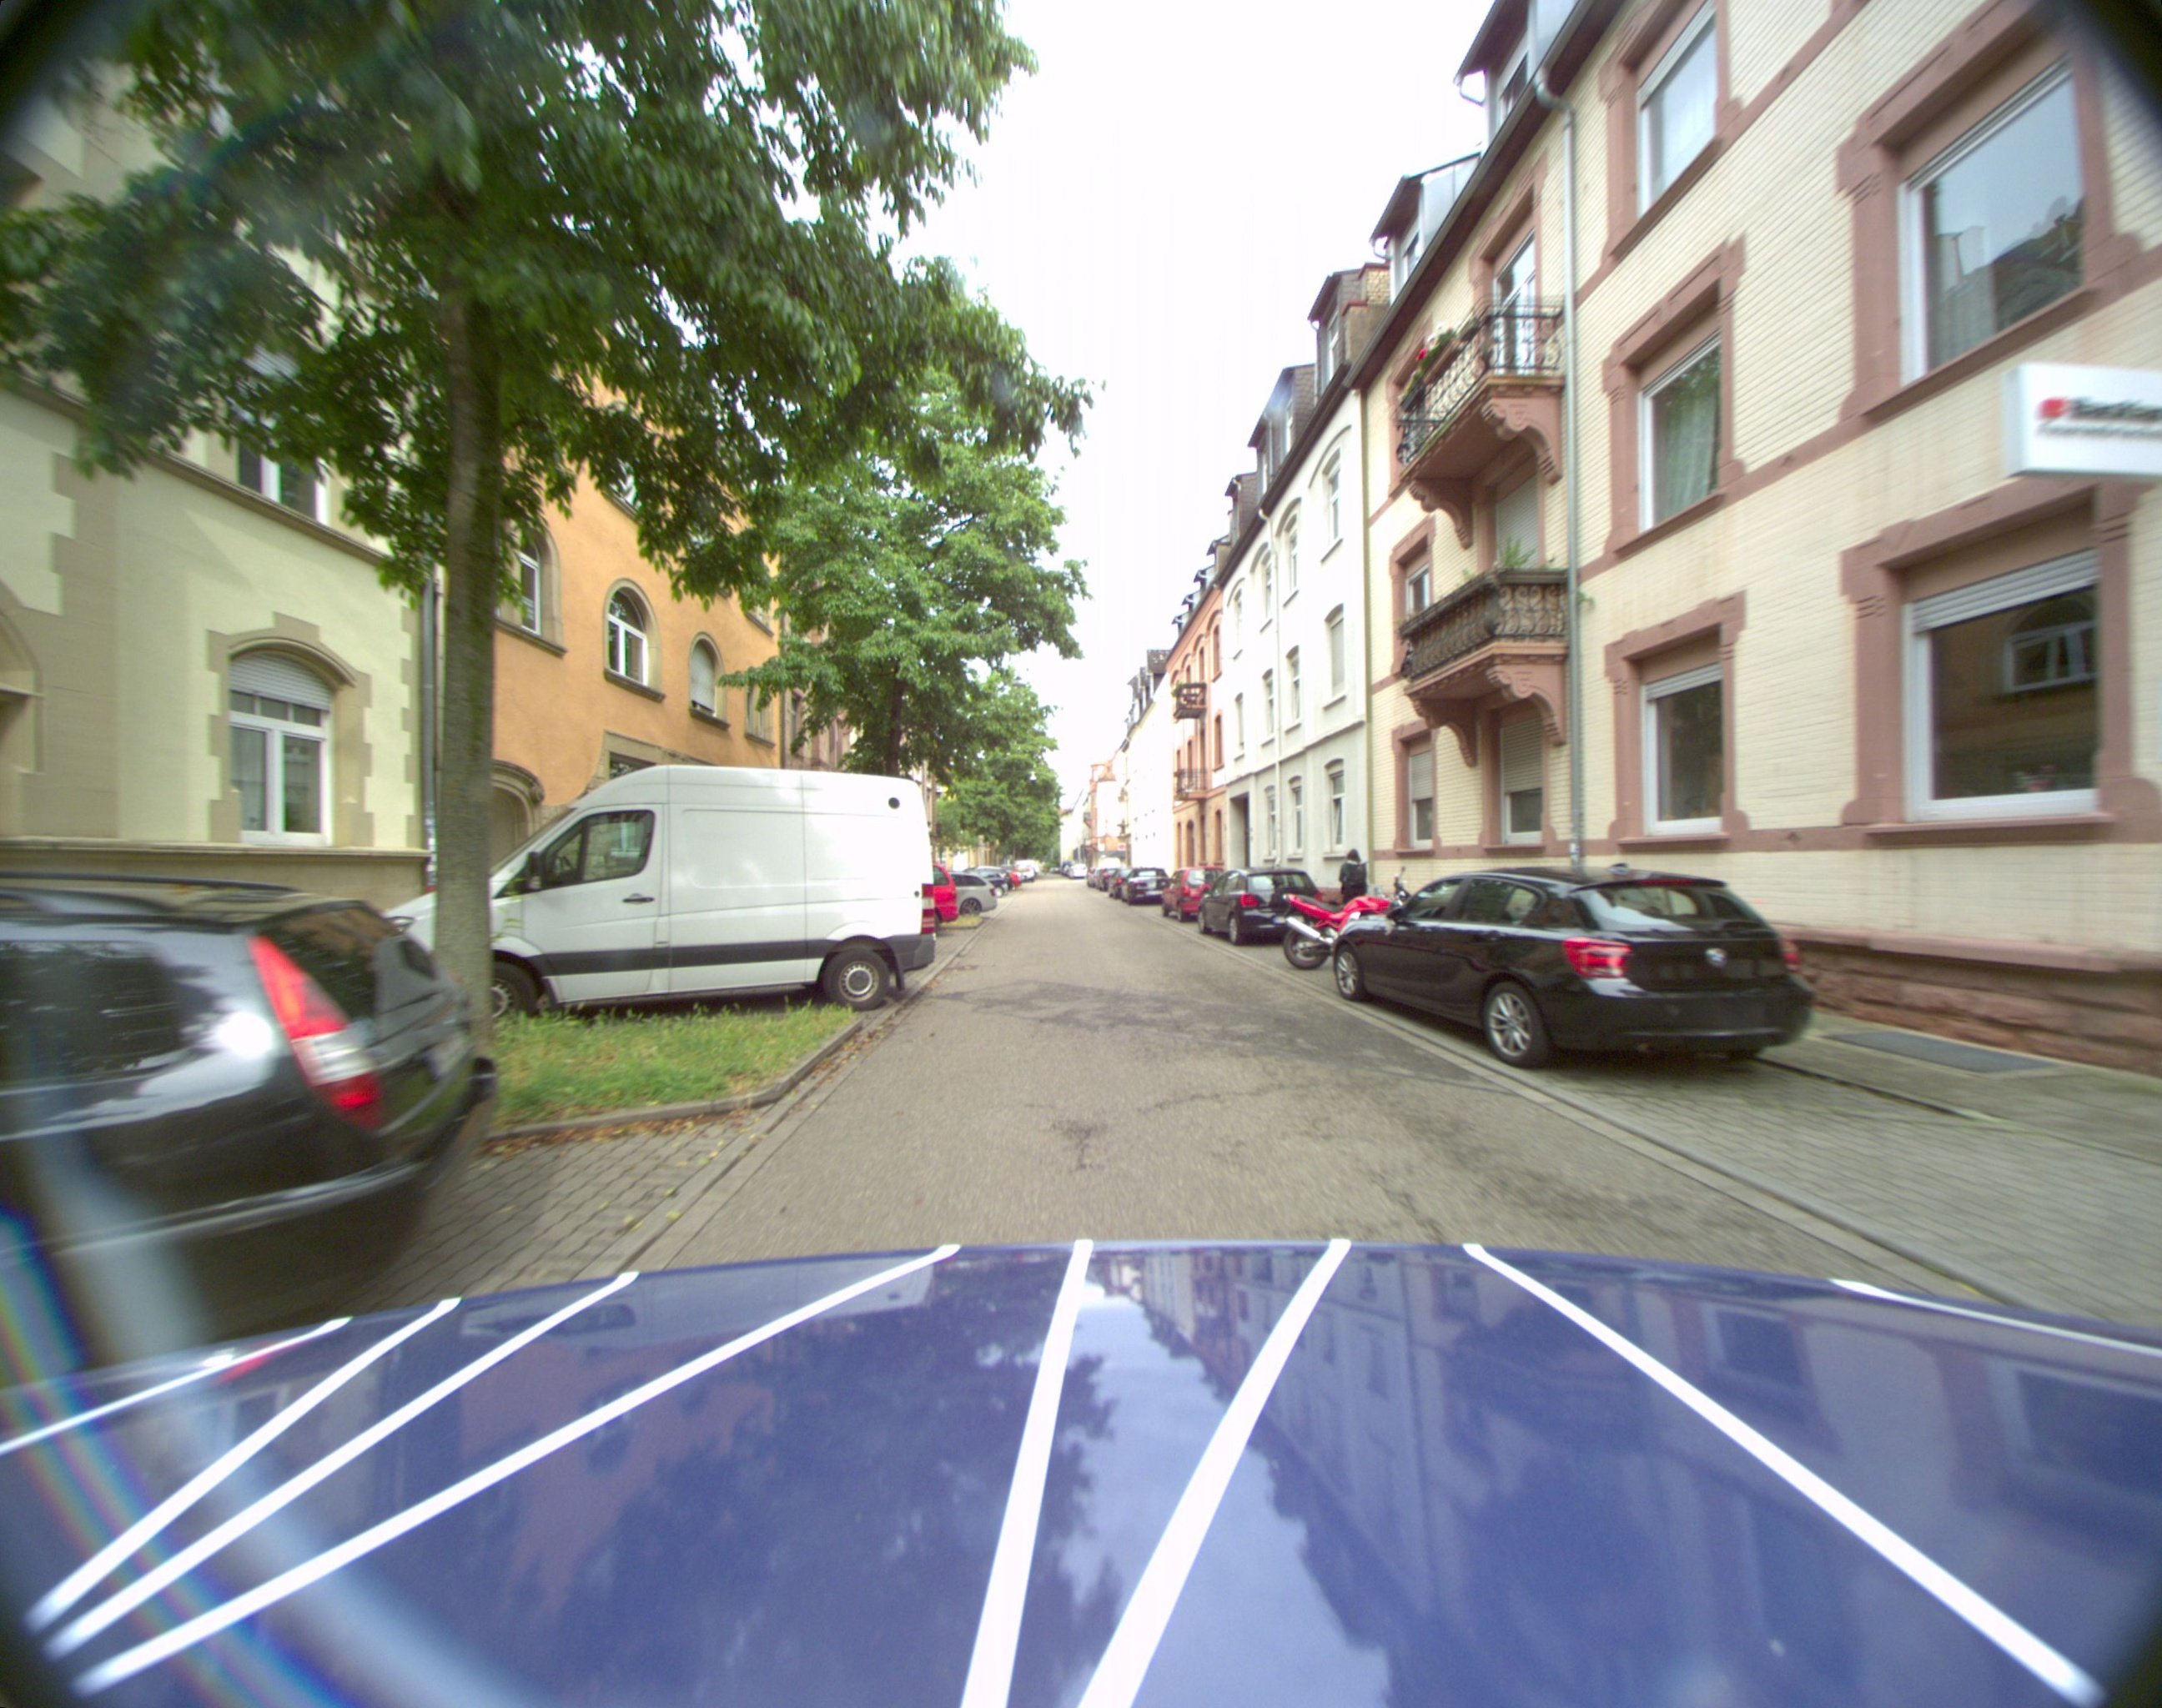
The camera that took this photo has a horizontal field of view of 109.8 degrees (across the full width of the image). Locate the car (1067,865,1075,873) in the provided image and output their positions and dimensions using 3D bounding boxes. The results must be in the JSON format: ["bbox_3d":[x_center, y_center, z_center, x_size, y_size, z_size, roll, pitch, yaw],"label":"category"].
[{"bbox_3d":[-1.969,2.953,151.305,1.457,1.401,3.811,-2,-1,-1],"label":"car"}]

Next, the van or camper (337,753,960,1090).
[{"bbox_3d":[-4.082,0.504,8.053,5.078,2.575,2.069,-1,0,-33],"label":"van or camper"}]

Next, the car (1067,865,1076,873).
[{"bbox_3d":[-1.689,2.632,132.106,1.457,1.401,3.811,-2,-1,-1],"label":"car"}]

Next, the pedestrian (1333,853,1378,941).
[{"bbox_3d":[5.078,0.783,14.069,0.578,1.599,0.544,-1,0,-3],"label":"pedestrian"}]

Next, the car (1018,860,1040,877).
[{"bbox_3d":[-5.450,1.491,79.869,1.999,1.739,4.000,-1,-1,0],"label":"car"}]

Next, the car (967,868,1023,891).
[{"bbox_3d":[-5.940,1.727,52.623,3.608,1.458,1.628,-1,0,-16],"label":"car"}]

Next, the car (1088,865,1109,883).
[{"bbox_3d":[1.340,1.573,60.598,1.457,1.401,3.811,-2,-1,-1],"label":"car"}]

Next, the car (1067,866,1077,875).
[{"bbox_3d":[-1.475,2.703,122.725,1.457,1.401,3.811,-2,-1,-1],"label":"car"}]

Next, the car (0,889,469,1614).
[{"bbox_3d":[-4.245,0.977,1.684,4.285,1.607,1.758,-1,-1,-32],"label":"car"}]

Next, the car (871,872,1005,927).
[{"bbox_3d":[-4.300,1.313,22.987,3.612,1.458,1.626,-1,-1,-34],"label":"car"}]

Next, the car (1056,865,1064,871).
[{"bbox_3d":[-5.168,3.388,187.729,1.458,1.401,3.807,-1,-1,-11],"label":"car"}]

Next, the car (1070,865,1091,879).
[{"bbox_3d":[-0.095,1.983,83.282,2.082,1.446,4.253,-2,-1,-1],"label":"car"}]

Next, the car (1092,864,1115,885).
[{"bbox_3d":[1.599,1.497,55.591,1.457,1.401,3.811,-2,-1,-1],"label":"car"}]

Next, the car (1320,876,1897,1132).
[{"bbox_3d":[3.778,0.928,6.481,1.905,1.382,3.999,-1,-1,-5],"label":"car"}]

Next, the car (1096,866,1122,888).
[{"bbox_3d":[1.844,1.522,51.170,1.457,1.401,3.811,-2,-1,-1],"label":"car"}]

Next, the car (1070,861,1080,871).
[{"bbox_3d":[-0.875,1.747,111.203,1.457,1.401,3.811,-2,-1,-1],"label":"car"}]

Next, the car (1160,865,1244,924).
[{"bbox_3d":[3.245,1.052,20.979,1.611,1.463,3.342,-1,0,-3],"label":"car"}]

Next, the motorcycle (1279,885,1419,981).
[{"bbox_3d":[3.572,1.047,10.236,1.710,1.218,0.487,-2,0,16],"label":"motorcycle"}]

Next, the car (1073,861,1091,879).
[{"bbox_3d":[0.109,1.954,94.421,2.052,2.071,3.811,-2,-1,-1],"label":"car"}]

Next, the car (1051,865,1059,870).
[{"bbox_3d":[-6.874,3.545,197.058,1.458,1.401,3.807,-1,-1,-11],"label":"car"}]

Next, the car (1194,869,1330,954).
[{"bbox_3d":[3.386,1.022,14.877,1.660,1.375,3.471,-2,0,-2],"label":"car"}]

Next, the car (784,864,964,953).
[{"bbox_3d":[-4.607,1.127,16.926,3.611,1.723,1.670,-1,0,-25],"label":"car"}]

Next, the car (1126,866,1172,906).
[{"bbox_3d":[2.599,1.190,29.433,1.457,1.401,3.042,-2,-1,0],"label":"car"}]

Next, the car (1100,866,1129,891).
[{"bbox_3d":[2.004,1.488,46.456,1.457,1.401,3.811,-2,-1,-1],"label":"car"}]

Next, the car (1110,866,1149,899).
[{"bbox_3d":[2.243,1.292,35.758,1.457,1.401,3.811,-2,-1,-1],"label":"car"}]

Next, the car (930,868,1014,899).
[{"bbox_3d":[-5.816,1.525,40.394,4.151,1.489,1.837,-1,-1,-15],"label":"car"}]
